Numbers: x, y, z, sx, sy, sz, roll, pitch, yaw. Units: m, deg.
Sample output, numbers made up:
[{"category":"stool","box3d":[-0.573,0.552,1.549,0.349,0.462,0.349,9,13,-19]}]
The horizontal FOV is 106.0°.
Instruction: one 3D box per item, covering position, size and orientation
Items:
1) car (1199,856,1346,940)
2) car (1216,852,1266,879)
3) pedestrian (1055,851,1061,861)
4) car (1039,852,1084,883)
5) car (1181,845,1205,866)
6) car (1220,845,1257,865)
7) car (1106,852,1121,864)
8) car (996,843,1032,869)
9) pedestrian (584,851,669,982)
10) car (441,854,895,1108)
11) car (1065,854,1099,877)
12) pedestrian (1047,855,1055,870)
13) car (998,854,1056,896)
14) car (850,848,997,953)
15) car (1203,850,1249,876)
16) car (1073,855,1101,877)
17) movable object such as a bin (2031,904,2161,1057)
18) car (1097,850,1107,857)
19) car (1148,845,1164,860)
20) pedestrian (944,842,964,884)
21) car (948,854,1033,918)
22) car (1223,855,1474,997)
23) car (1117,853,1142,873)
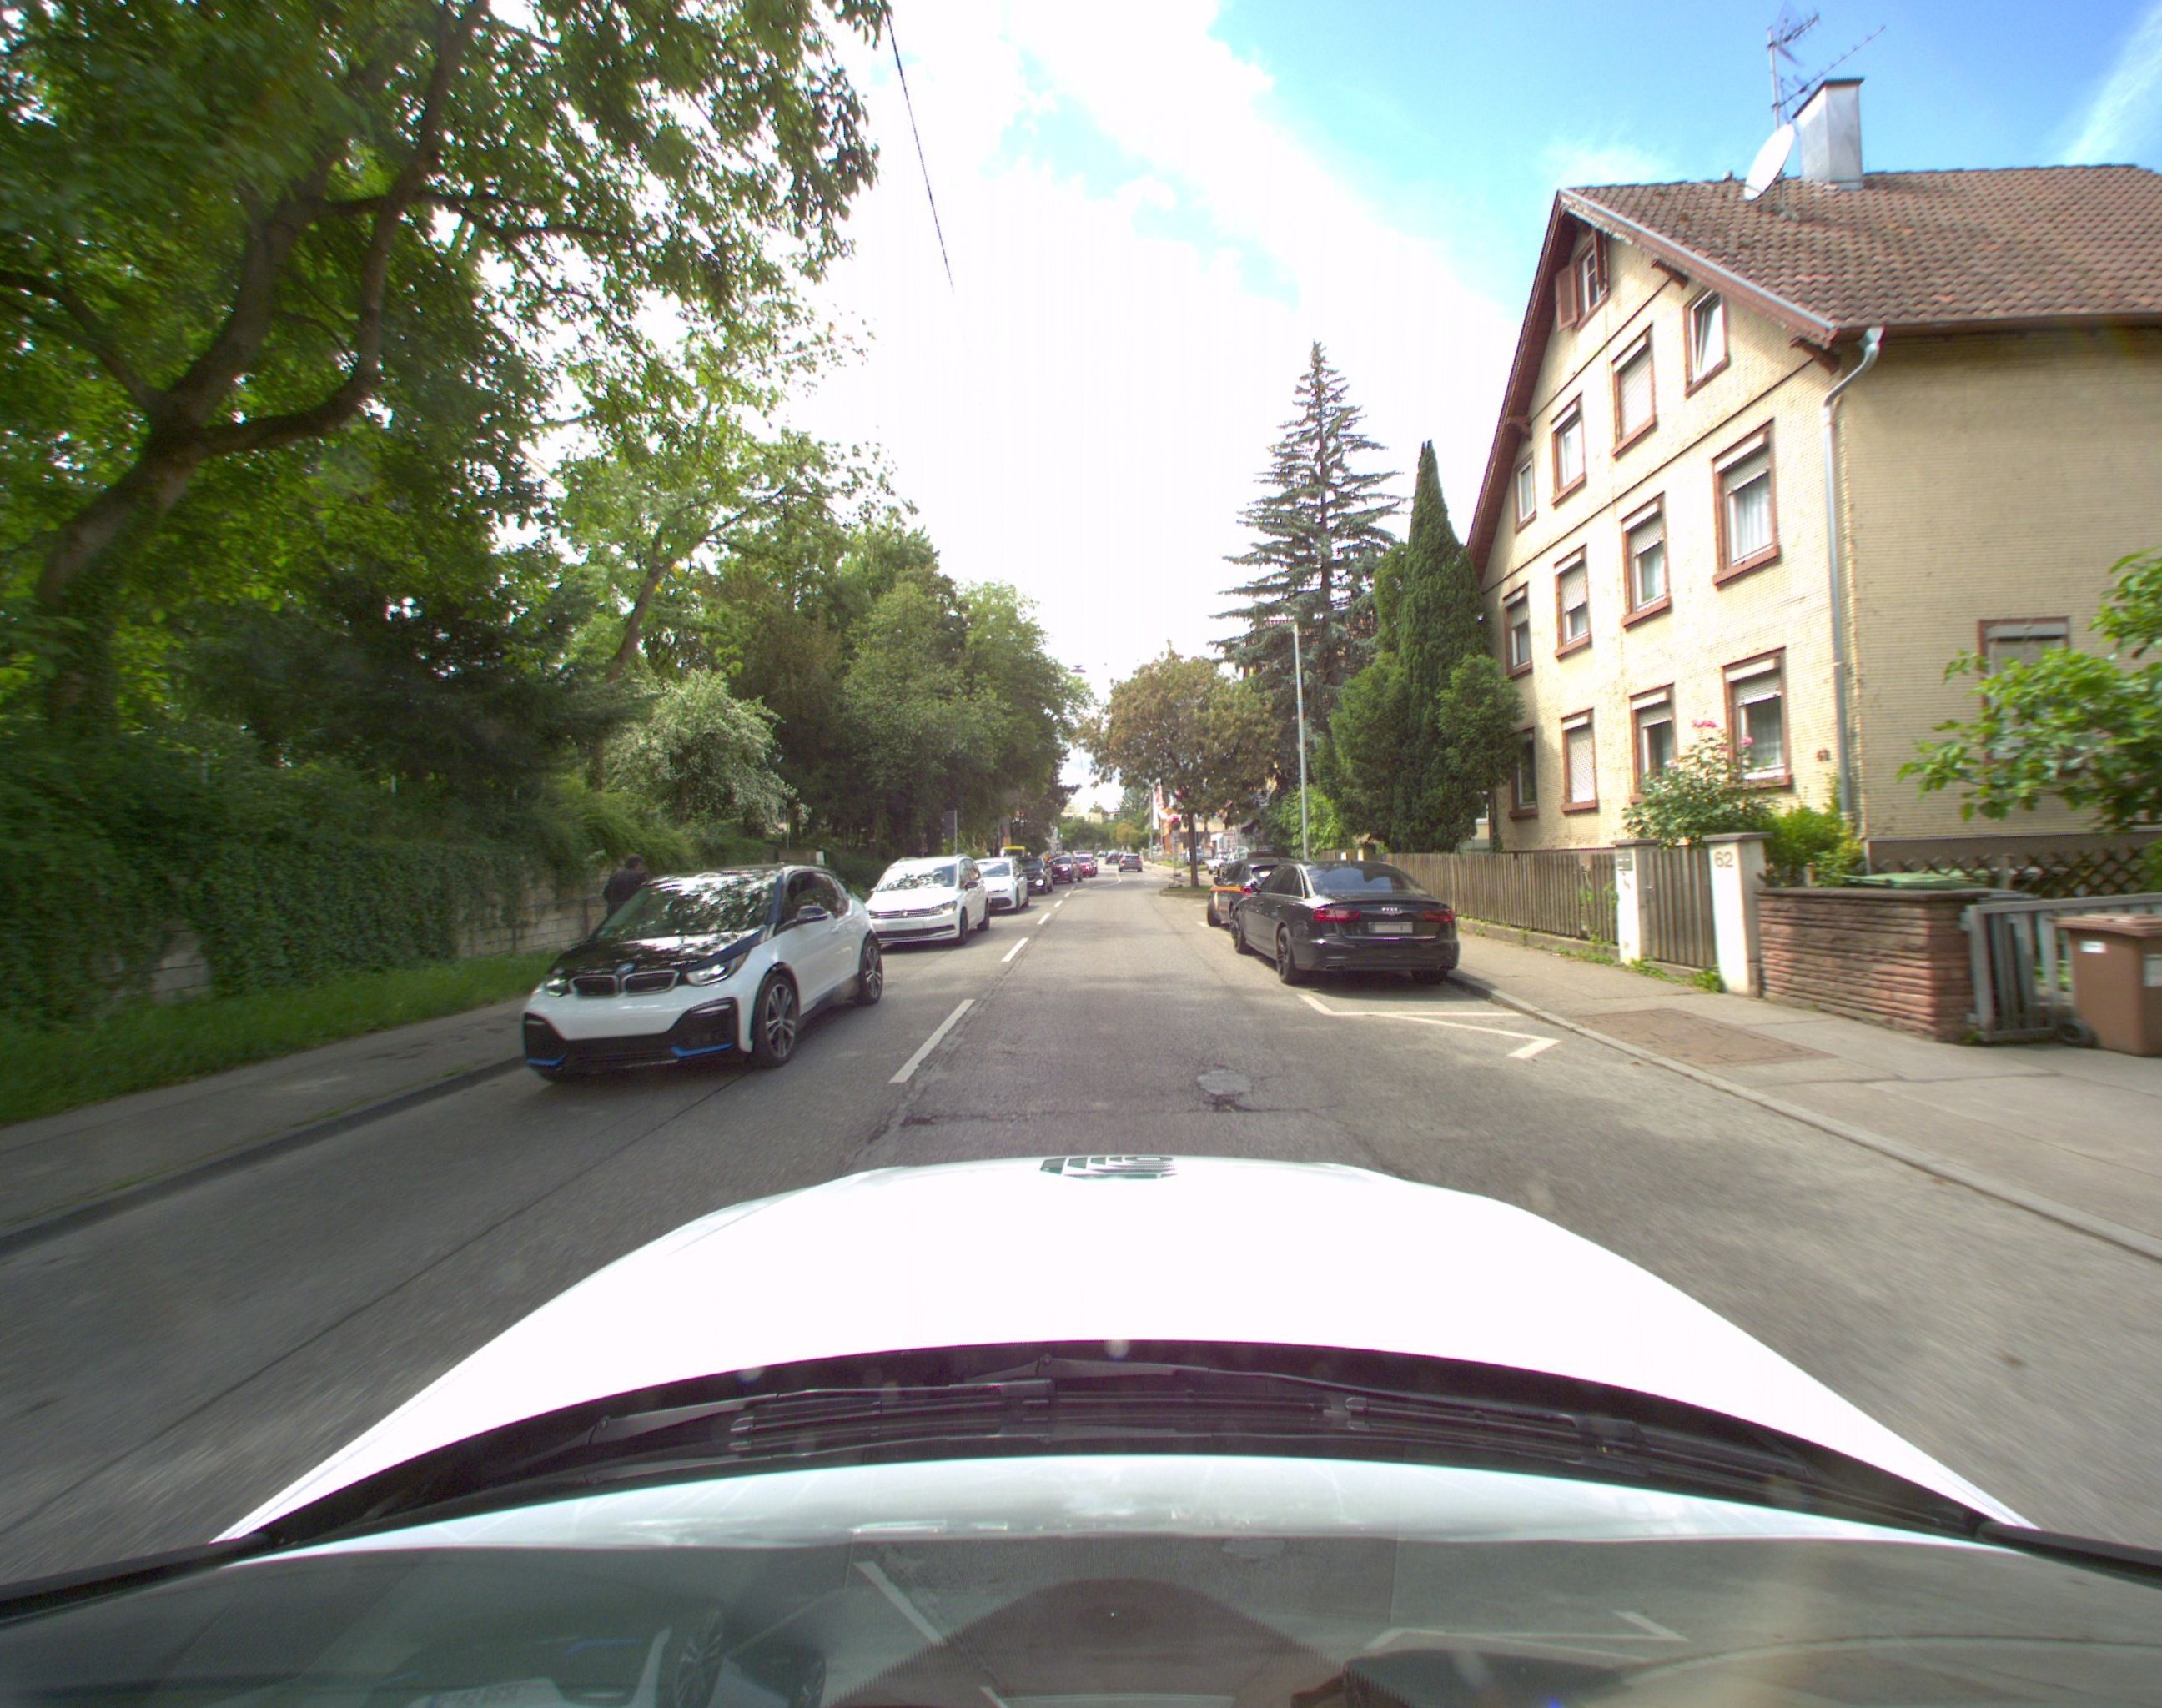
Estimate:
[{"category":"car","box3d":[3.586,0.752,16.114,1.818,1.417,4.507,0,0,-1]},{"category":"car","box3d":[8.224,0.550,42.171,1.719,1.316,4.265,-1,0,-1]},{"category":"pedestrian","box3d":[-3.203,0.313,113.486,0.701,1.439,0.714,-1,-1,5]},{"category":"car","box3d":[-1.039,0.727,45.292,1.752,1.533,4.106,-3,0,8]},{"category":"car","box3d":[9.817,0.121,71.569,1.776,1.634,3.697,-5,0,5]},{"category":"car","box3d":[11.798,0.086,61.370,1.837,1.355,4.065,-2,0,-3]},{"category":"car","box3d":[4.062,0.486,102.443,1.810,1.501,4.266,0,0,0]},{"category":"car","box3d":[-5.346,0.186,65.721,2.136,1.981,4.936,-1,-1,4]},{"category":"pedestrian","box3d":[-6.063,0.802,10.910,0.651,1.667,0.930,-1,-1,-4]},{"category":"car","box3d":[-3.243,0.855,7.512,1.921,1.546,4.087,-4,0,1]},{"category":"car","box3d":[0.084,0.750,54.302,1.680,1.425,3.447,-1,-1,10]},{"category":"pedestrian","box3d":[-2.829,0.797,76.746,0.705,1.439,0.711,-1,-1,-10]},{"category":"car","box3d":[-2.151,0.807,33.436,1.781,1.542,4.267,-3,0,3]},{"category":"car","box3d":[-2.865,0.777,15.867,1.779,1.648,4.492,-3,0,2]},{"category":"car","box3d":[8.359,0.511,47.223,1.718,1.364,4.482,-2,0,-1]},{"category":"car","box3d":[0.504,0.885,62.302,1.921,1.578,4.298,-1,-1,3]},{"category":"movable object such as a bin","box3d":[7.084,0.844,5.592,0.506,0.935,0.520,-3,2,1]},{"category":"car","box3d":[4.813,-0.070,183.635,2.101,1.501,4.271,-2,0,4]},{"category":"car","box3d":[10.231,-0.189,110.678,1.985,2.014,4.003,-1,-1,3]},{"category":"pedestrian","box3d":[-5.380,0.382,34.450,0.712,1.762,1.120,-1,-1,-4]},{"category":"car","box3d":[-2.486,0.833,23.458,1.778,1.592,4.155,-3,0,2]},{"category":"car","box3d":[3.204,0.750,10.909,1.795,1.445,4.887,1,0,0]},{"category":"car","box3d":[3.951,0.696,66.947,1.968,1.513,4.269,2,0,2]}]
